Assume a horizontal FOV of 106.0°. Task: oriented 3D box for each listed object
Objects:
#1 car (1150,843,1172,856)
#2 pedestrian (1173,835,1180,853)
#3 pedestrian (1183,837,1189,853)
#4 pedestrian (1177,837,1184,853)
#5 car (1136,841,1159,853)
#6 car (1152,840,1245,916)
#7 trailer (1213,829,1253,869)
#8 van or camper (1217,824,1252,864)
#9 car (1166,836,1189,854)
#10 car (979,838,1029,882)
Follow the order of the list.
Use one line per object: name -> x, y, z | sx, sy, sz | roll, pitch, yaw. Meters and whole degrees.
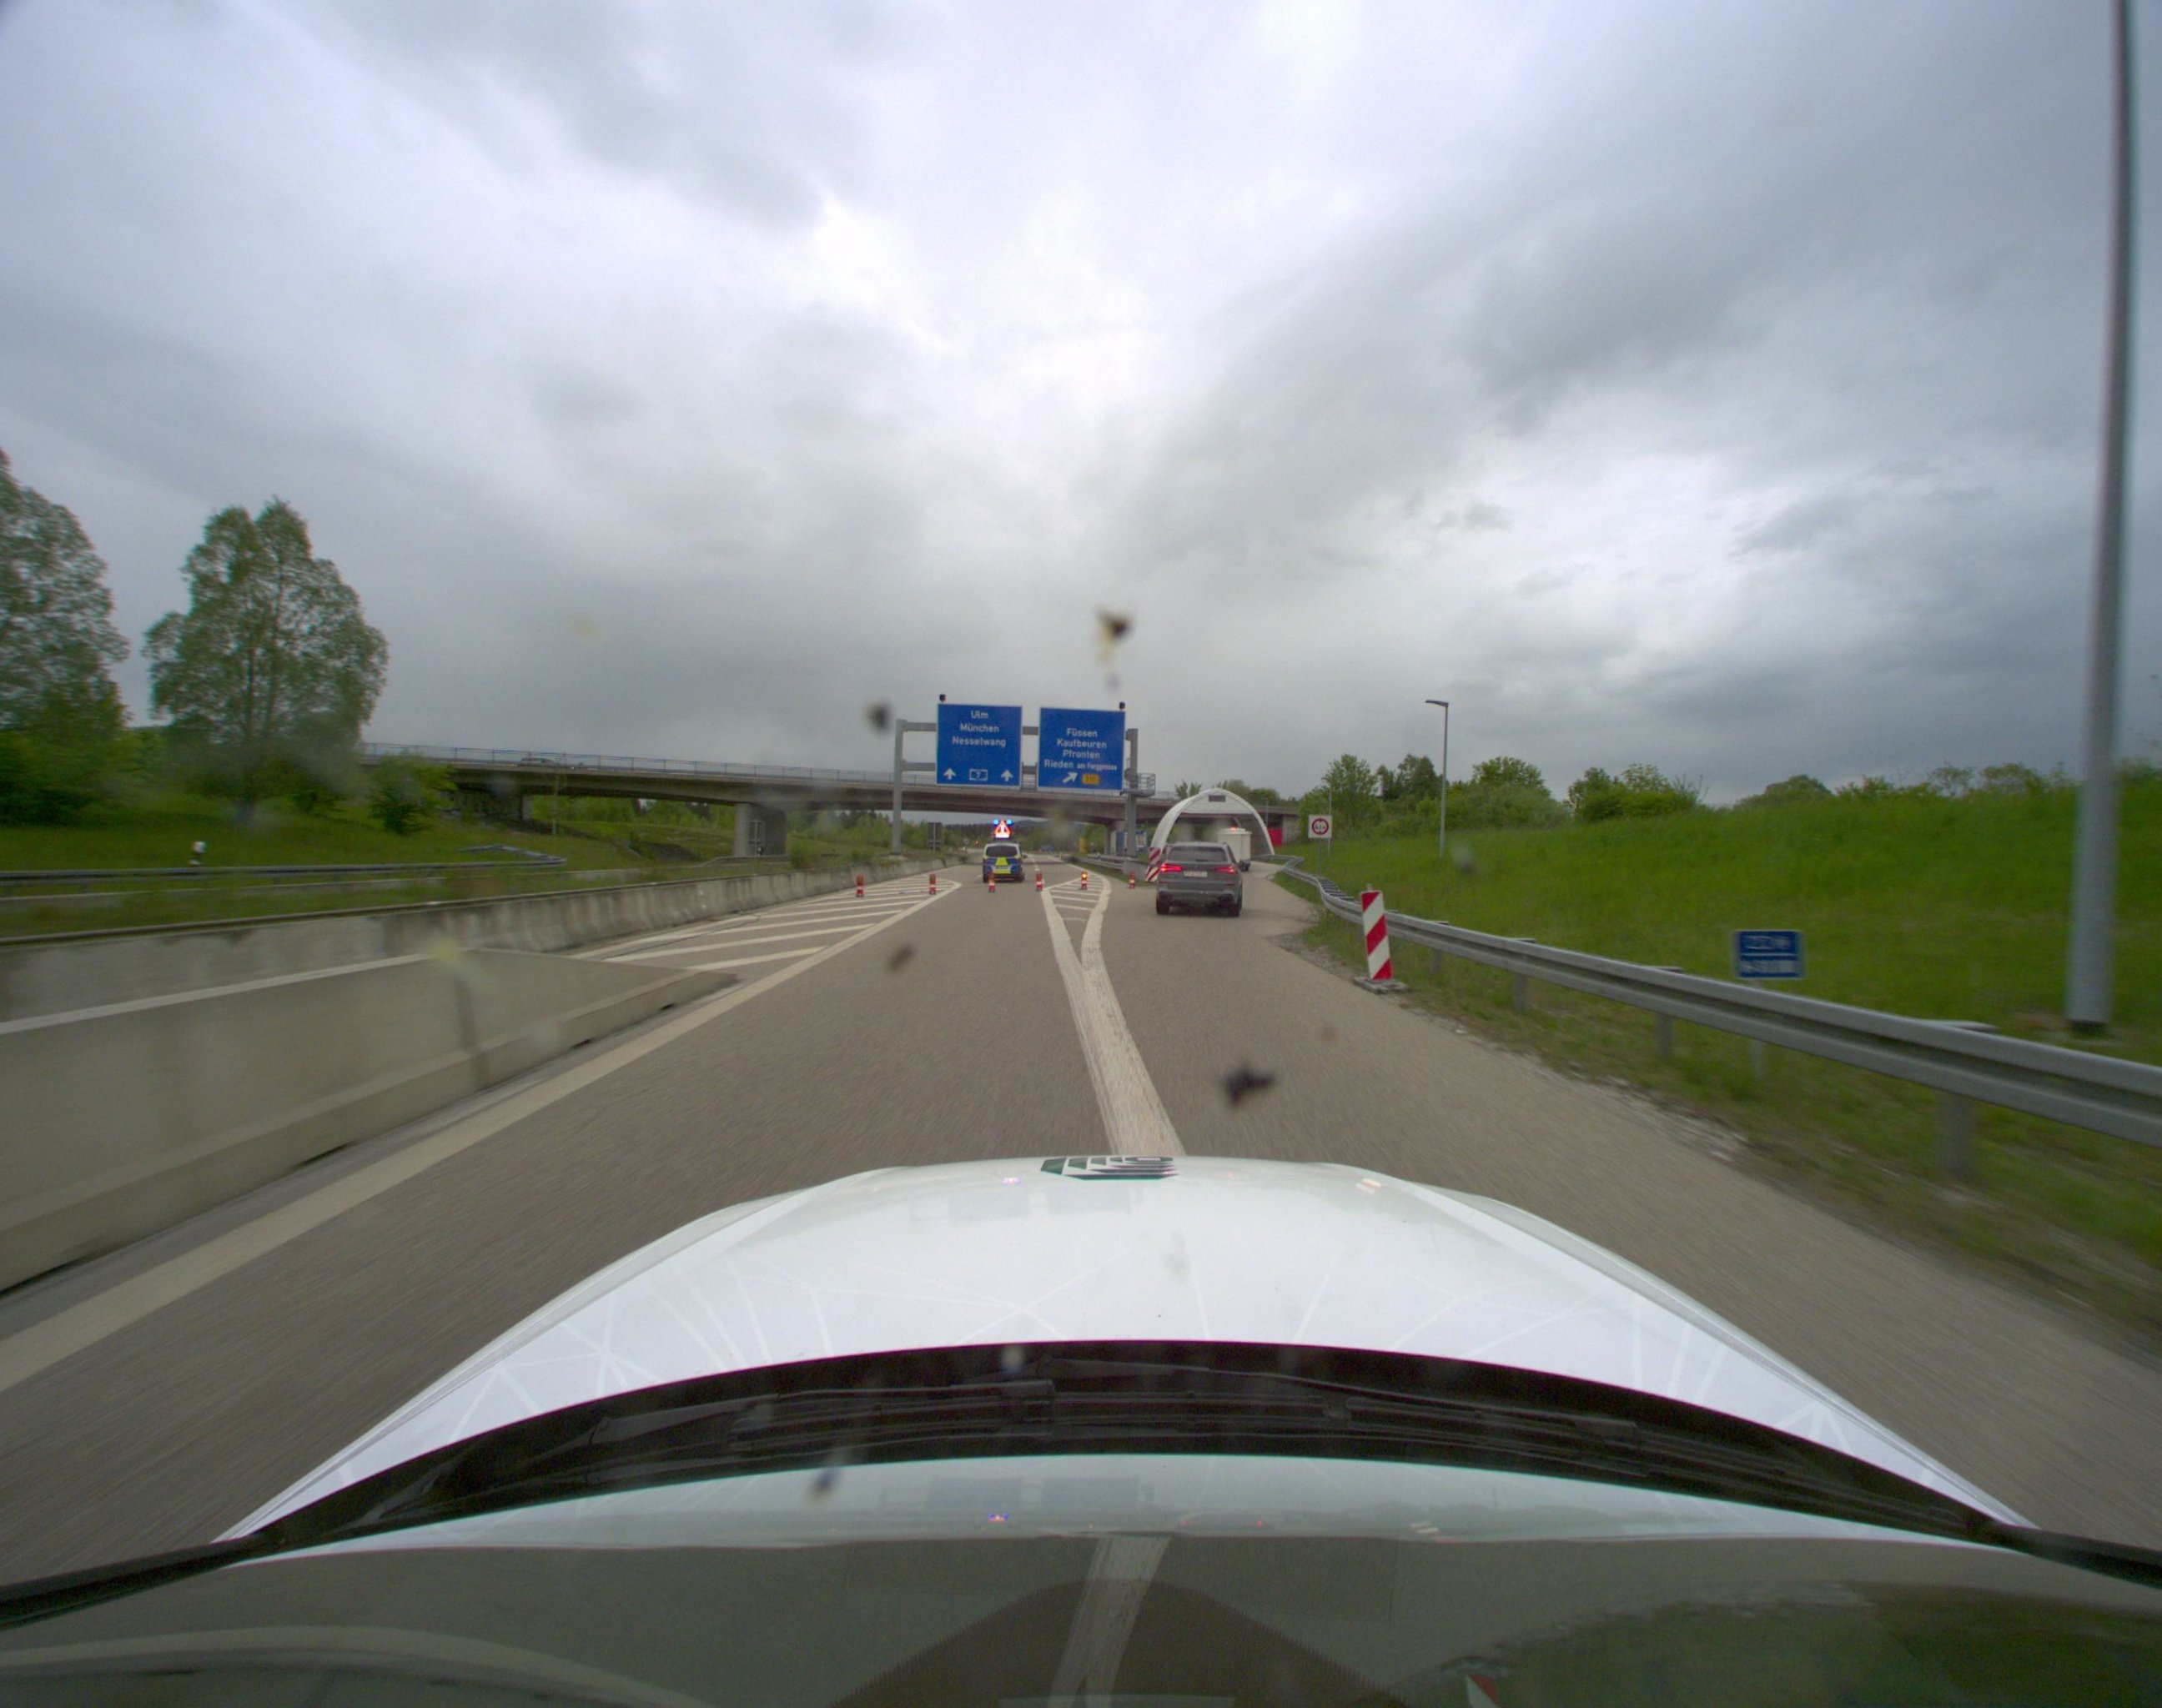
car -> 12.630, -0.776, 128.797 | 1.999, 2.013, 3.975 | -1, 0, -19
pedestrian -> 10.613, -1.085, 90.613 | 0.717, 1.945, 0.690 | -1, 0, 1
pedestrian -> 11.645, -1.018, 90.282 | 0.646, 1.775, 0.605 | -1, 0, -1
pedestrian -> 10.908, -0.986, 89.396 | 0.717, 1.775, 0.690 | -1, 0, 1
car -> 8.356, -0.912, 102.349 | 1.522, 1.442, 3.288 | -1, 0, -25
car -> 3.049, 0.529, 20.407 | 1.980, 1.719, 4.014 | 0, 0, 13
trailer -> 9.858, -0.291, 53.120 | 2.266, 2.430, 6.833 | 0, 0, 8
van or camper -> 11.121, -0.662, 59.416 | 2.145, 2.763, 5.883 | 0, 0, 7
car -> 10.265, -0.955, 87.093 | 1.987, 1.772, 3.765 | -1, 0, 0
car -> -3.759, 0.244, 40.265 | 2.282, 2.013, 5.041 | 0, 1, -5
